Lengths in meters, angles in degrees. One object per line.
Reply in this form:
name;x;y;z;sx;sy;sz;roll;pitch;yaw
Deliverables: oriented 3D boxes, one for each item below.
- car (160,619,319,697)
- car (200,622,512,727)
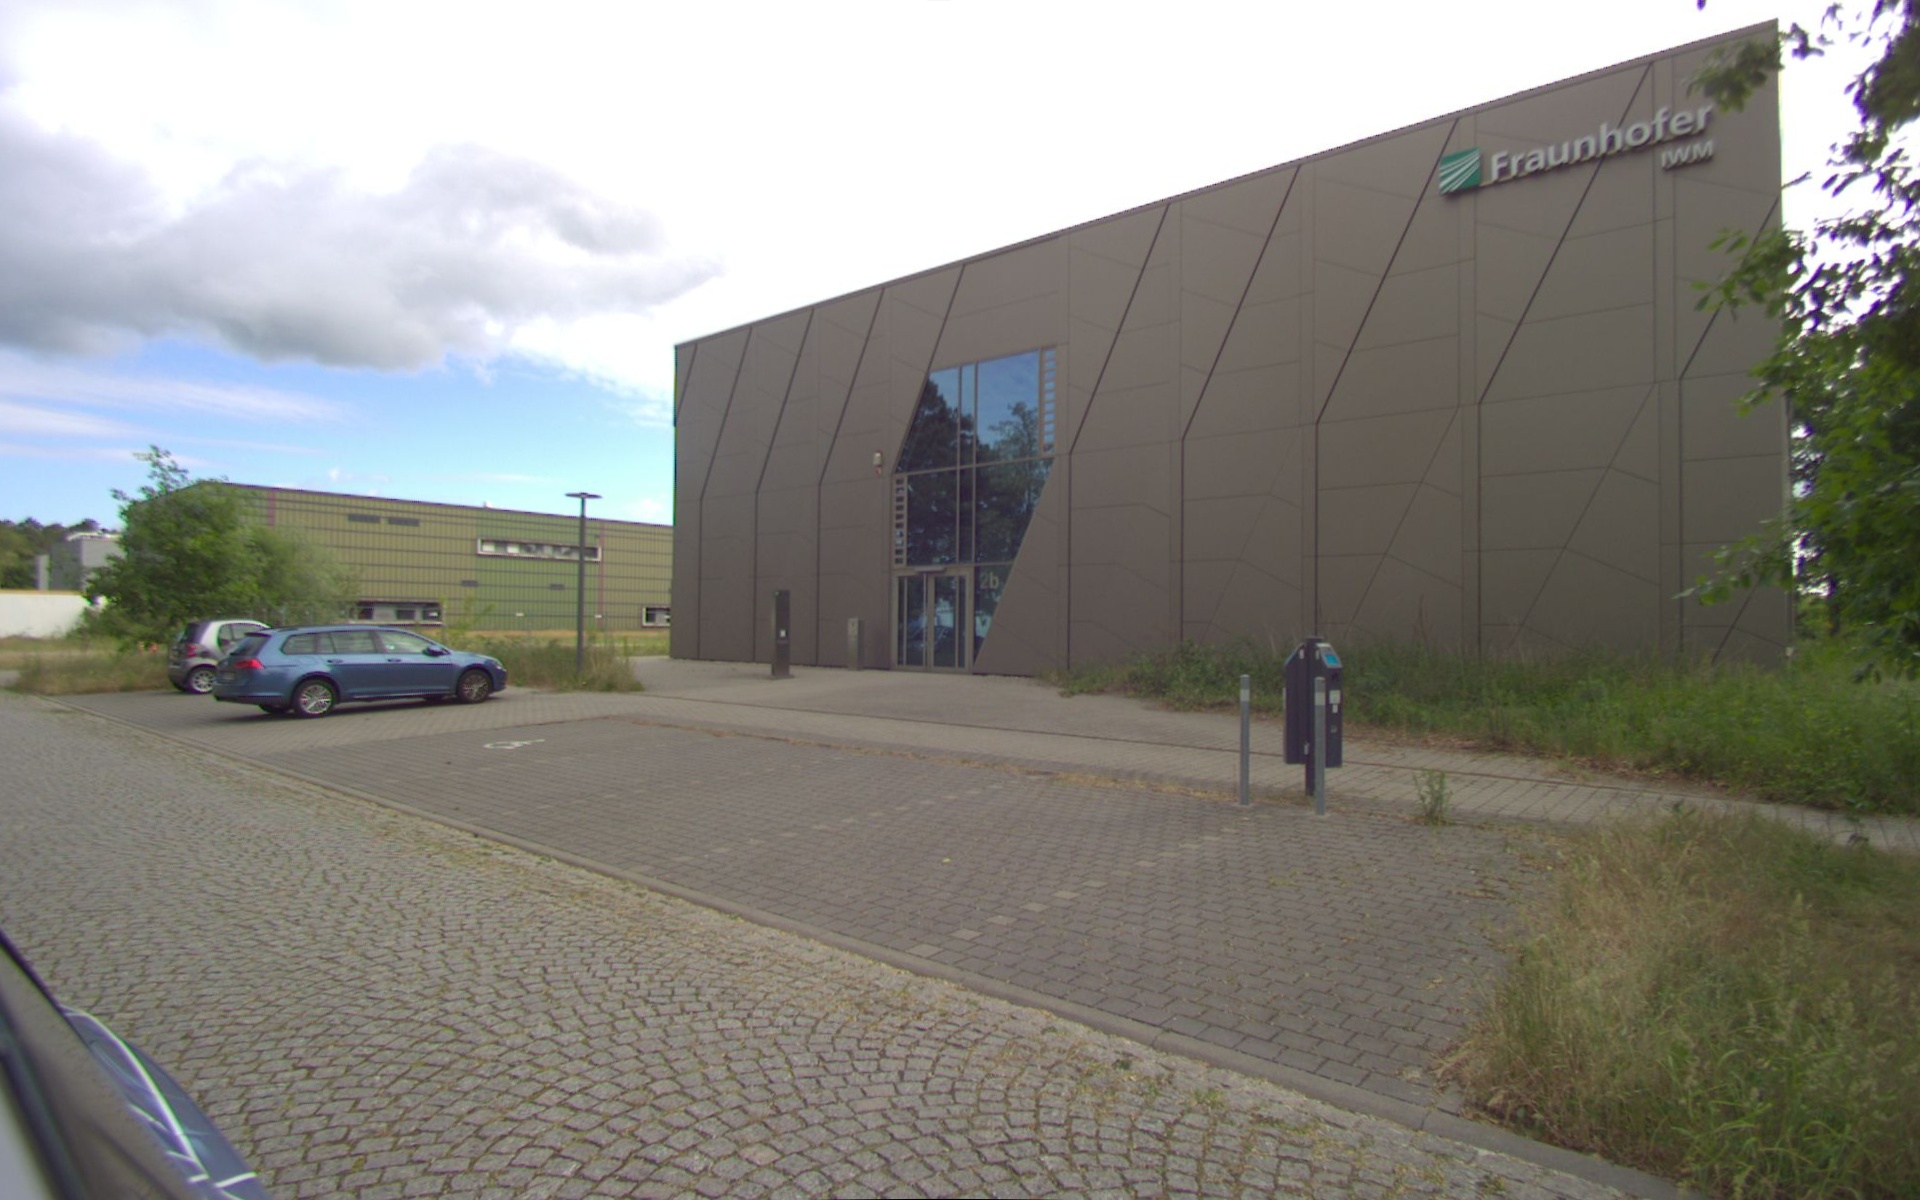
car;-15.884;1.227;22.358;1.498;1.541;2.553;-1;0;38
car;-10.298;1.169;17.558;1.631;1.481;4.373;-1;0;38
